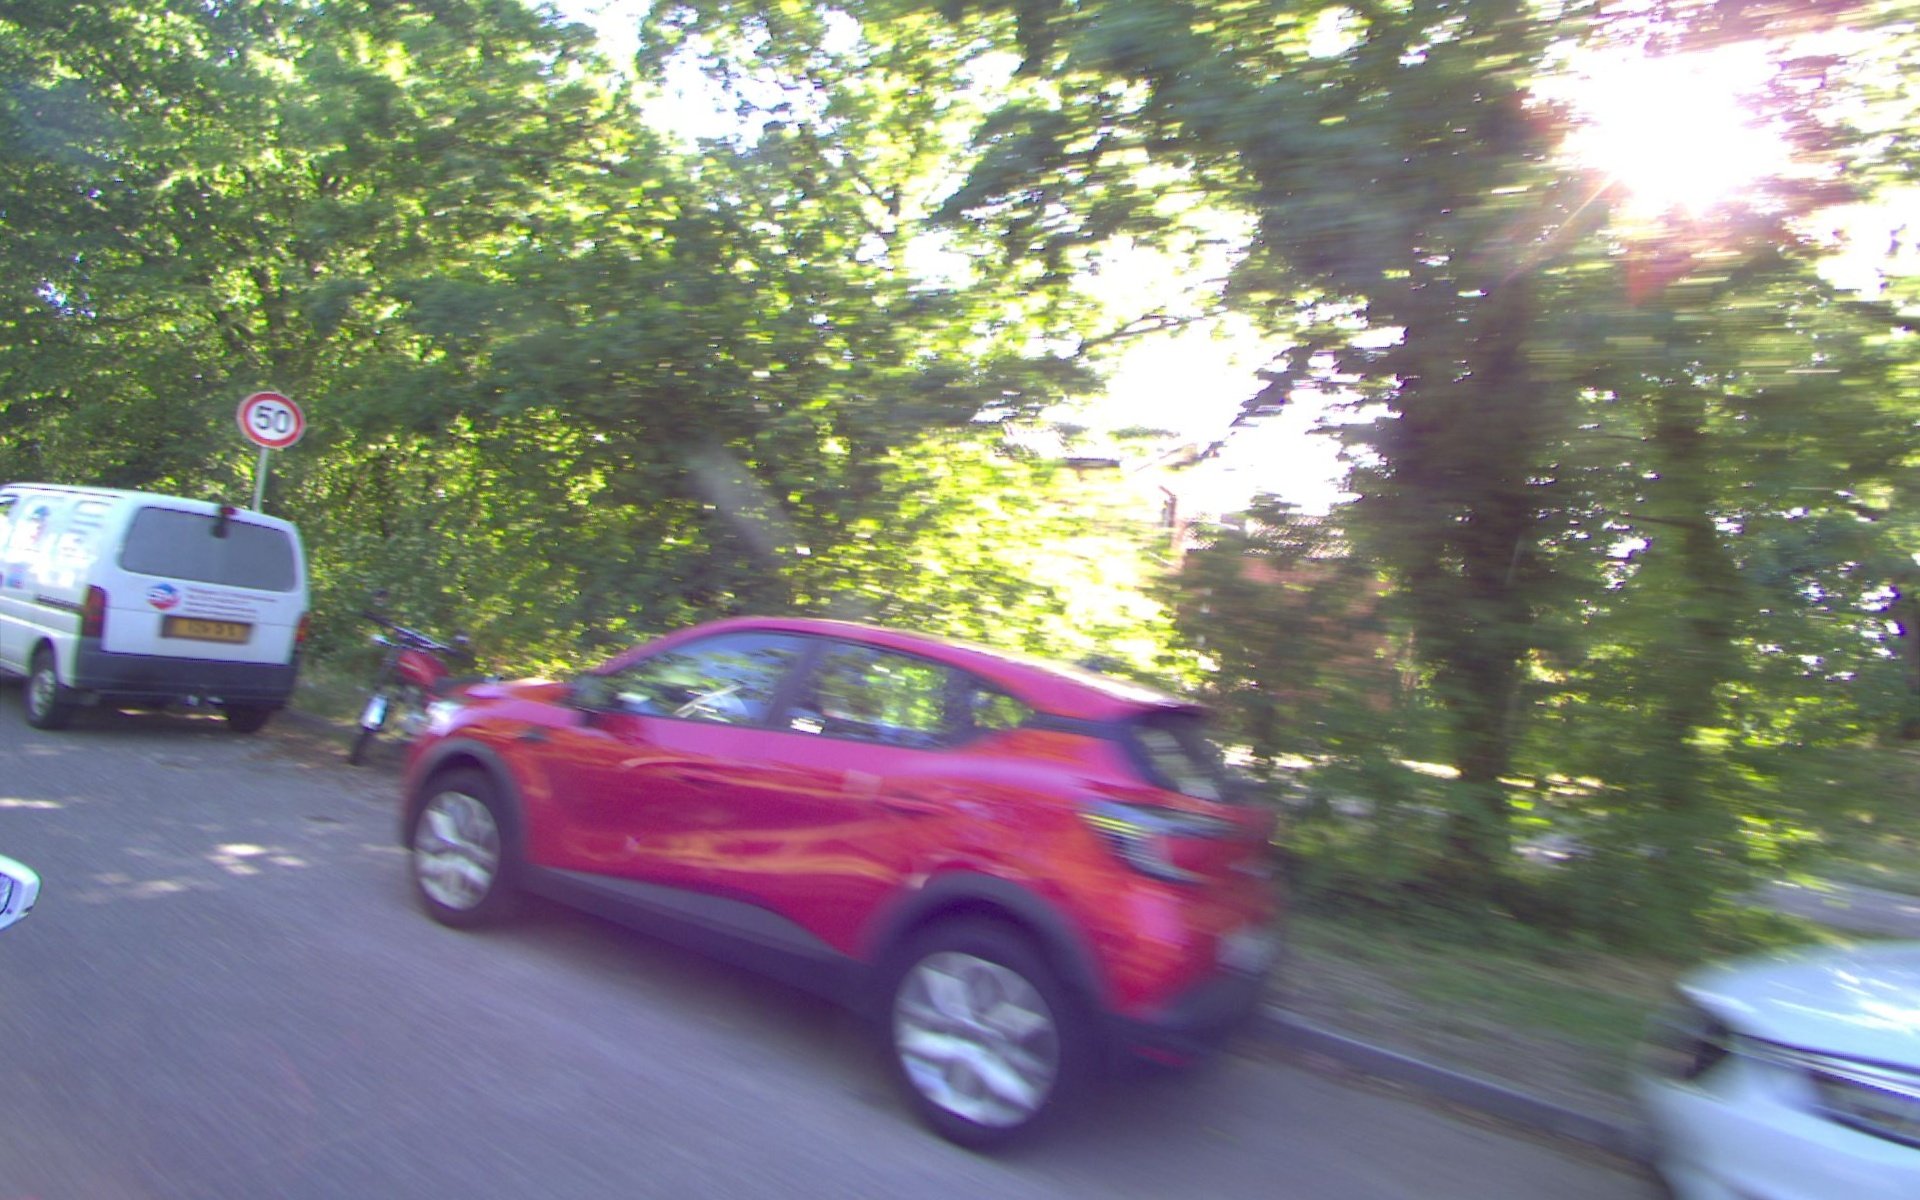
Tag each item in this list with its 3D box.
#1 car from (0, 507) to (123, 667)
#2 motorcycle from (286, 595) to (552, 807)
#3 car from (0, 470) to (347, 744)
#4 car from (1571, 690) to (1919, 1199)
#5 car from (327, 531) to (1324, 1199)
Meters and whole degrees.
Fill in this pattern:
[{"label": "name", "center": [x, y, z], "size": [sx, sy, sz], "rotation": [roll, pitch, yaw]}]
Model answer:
[{"label": "car", "center": [-11.352, -0.362, 11.153], "size": [4.135, 1.528, 1.697], "rotation": [7, -4, 30]}, {"label": "motorcycle", "center": [-3.995, 0.699, 7.378], "size": [2.001, 1.209, 0.649], "rotation": [6, -3, 31]}, {"label": "car", "center": [-7.115, -0.006, 8.439], "size": [3.606, 1.792, 1.628], "rotation": [7, -3, 30]}, {"label": "car", "center": [3.697, 1.334, 1.983], "size": [3.994, 1.638, 1.782], "rotation": [7, -4, 29]}, {"label": "car", "center": [-0.675, 0.815, 4.528], "size": [3.994, 1.638, 1.782], "rotation": [7, -4, 29]}]
